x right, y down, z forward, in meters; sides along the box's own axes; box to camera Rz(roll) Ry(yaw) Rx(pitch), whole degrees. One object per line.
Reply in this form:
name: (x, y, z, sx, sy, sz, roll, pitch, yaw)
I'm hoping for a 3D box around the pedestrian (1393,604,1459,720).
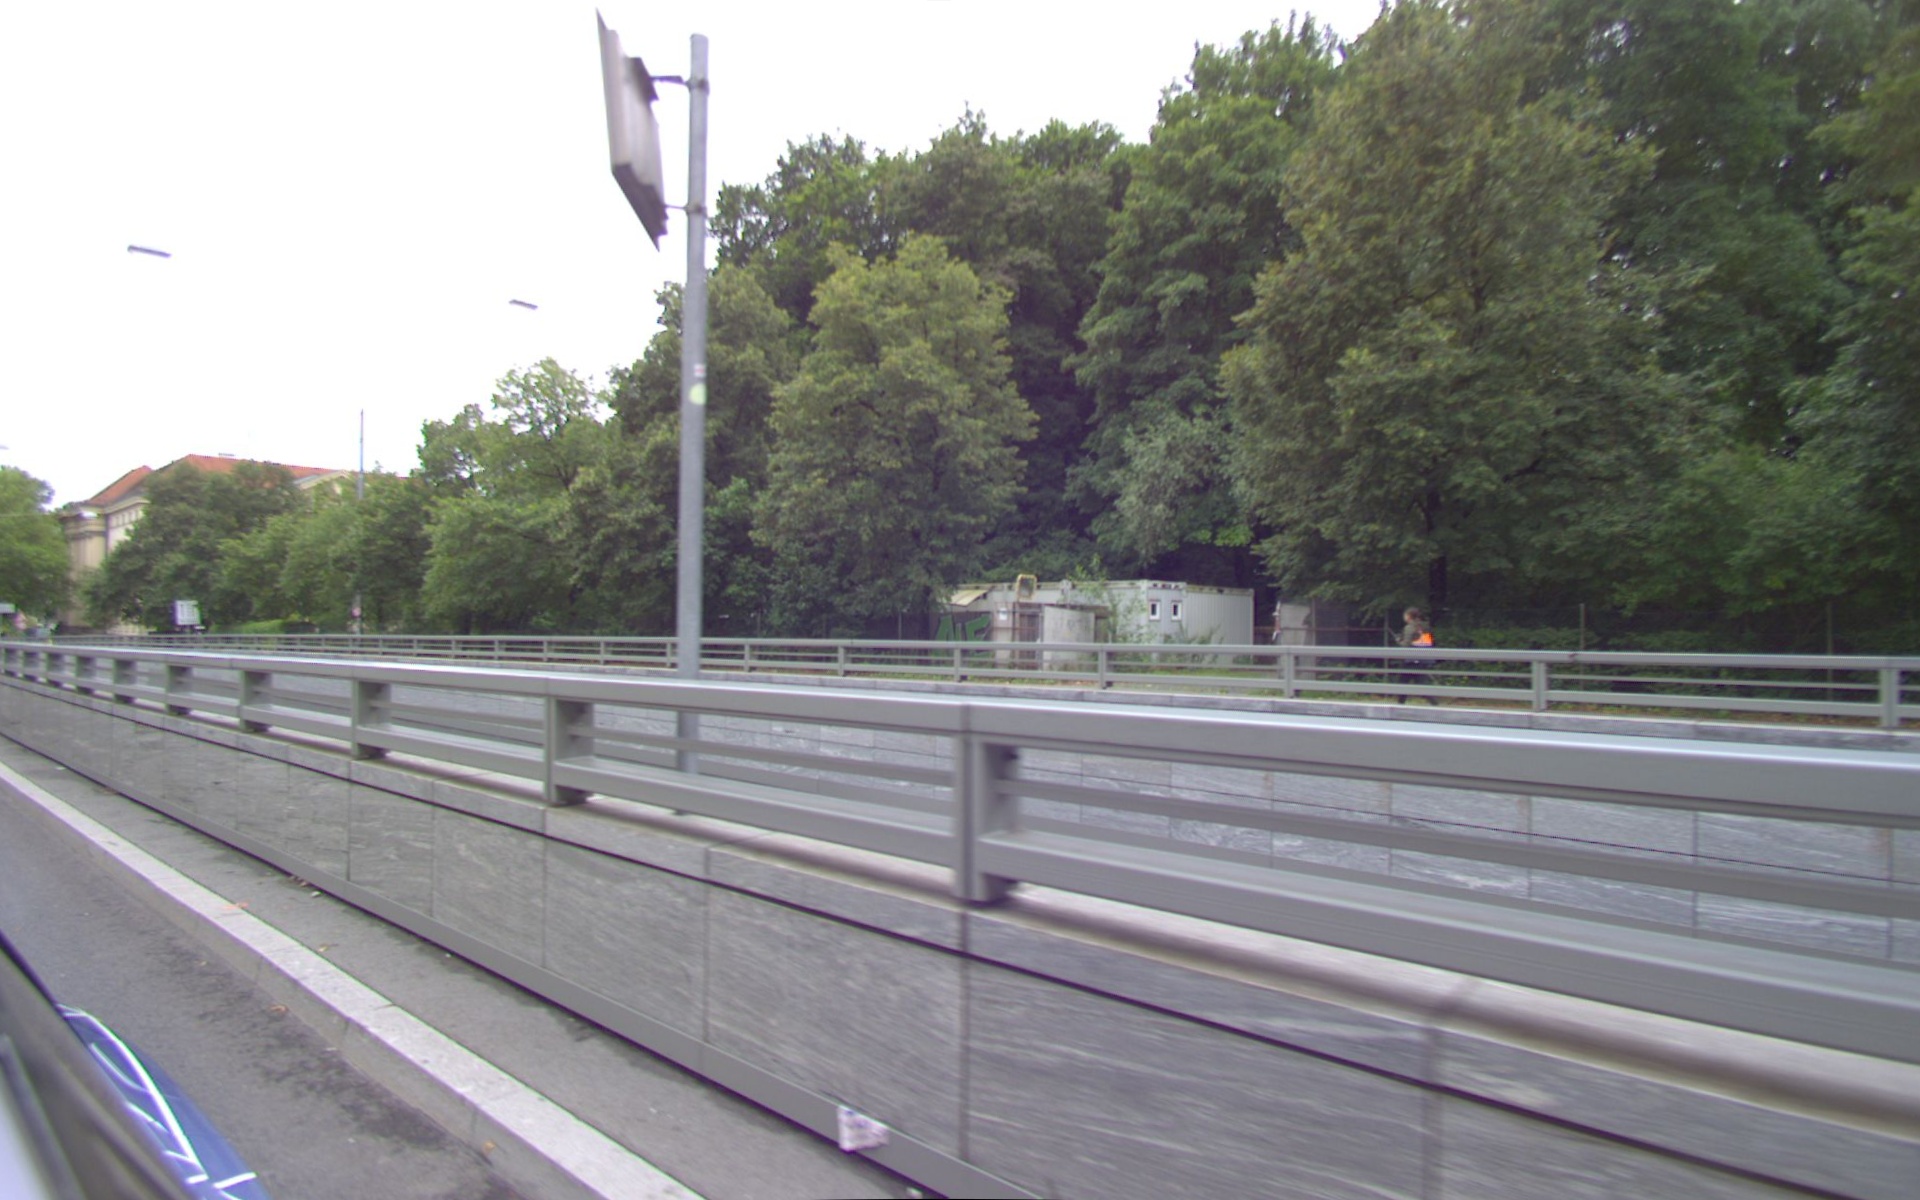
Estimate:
pedestrian: (6.854, 0.890, 14.888, 0.698, 1.653, 0.656, -1, -1, 42)
